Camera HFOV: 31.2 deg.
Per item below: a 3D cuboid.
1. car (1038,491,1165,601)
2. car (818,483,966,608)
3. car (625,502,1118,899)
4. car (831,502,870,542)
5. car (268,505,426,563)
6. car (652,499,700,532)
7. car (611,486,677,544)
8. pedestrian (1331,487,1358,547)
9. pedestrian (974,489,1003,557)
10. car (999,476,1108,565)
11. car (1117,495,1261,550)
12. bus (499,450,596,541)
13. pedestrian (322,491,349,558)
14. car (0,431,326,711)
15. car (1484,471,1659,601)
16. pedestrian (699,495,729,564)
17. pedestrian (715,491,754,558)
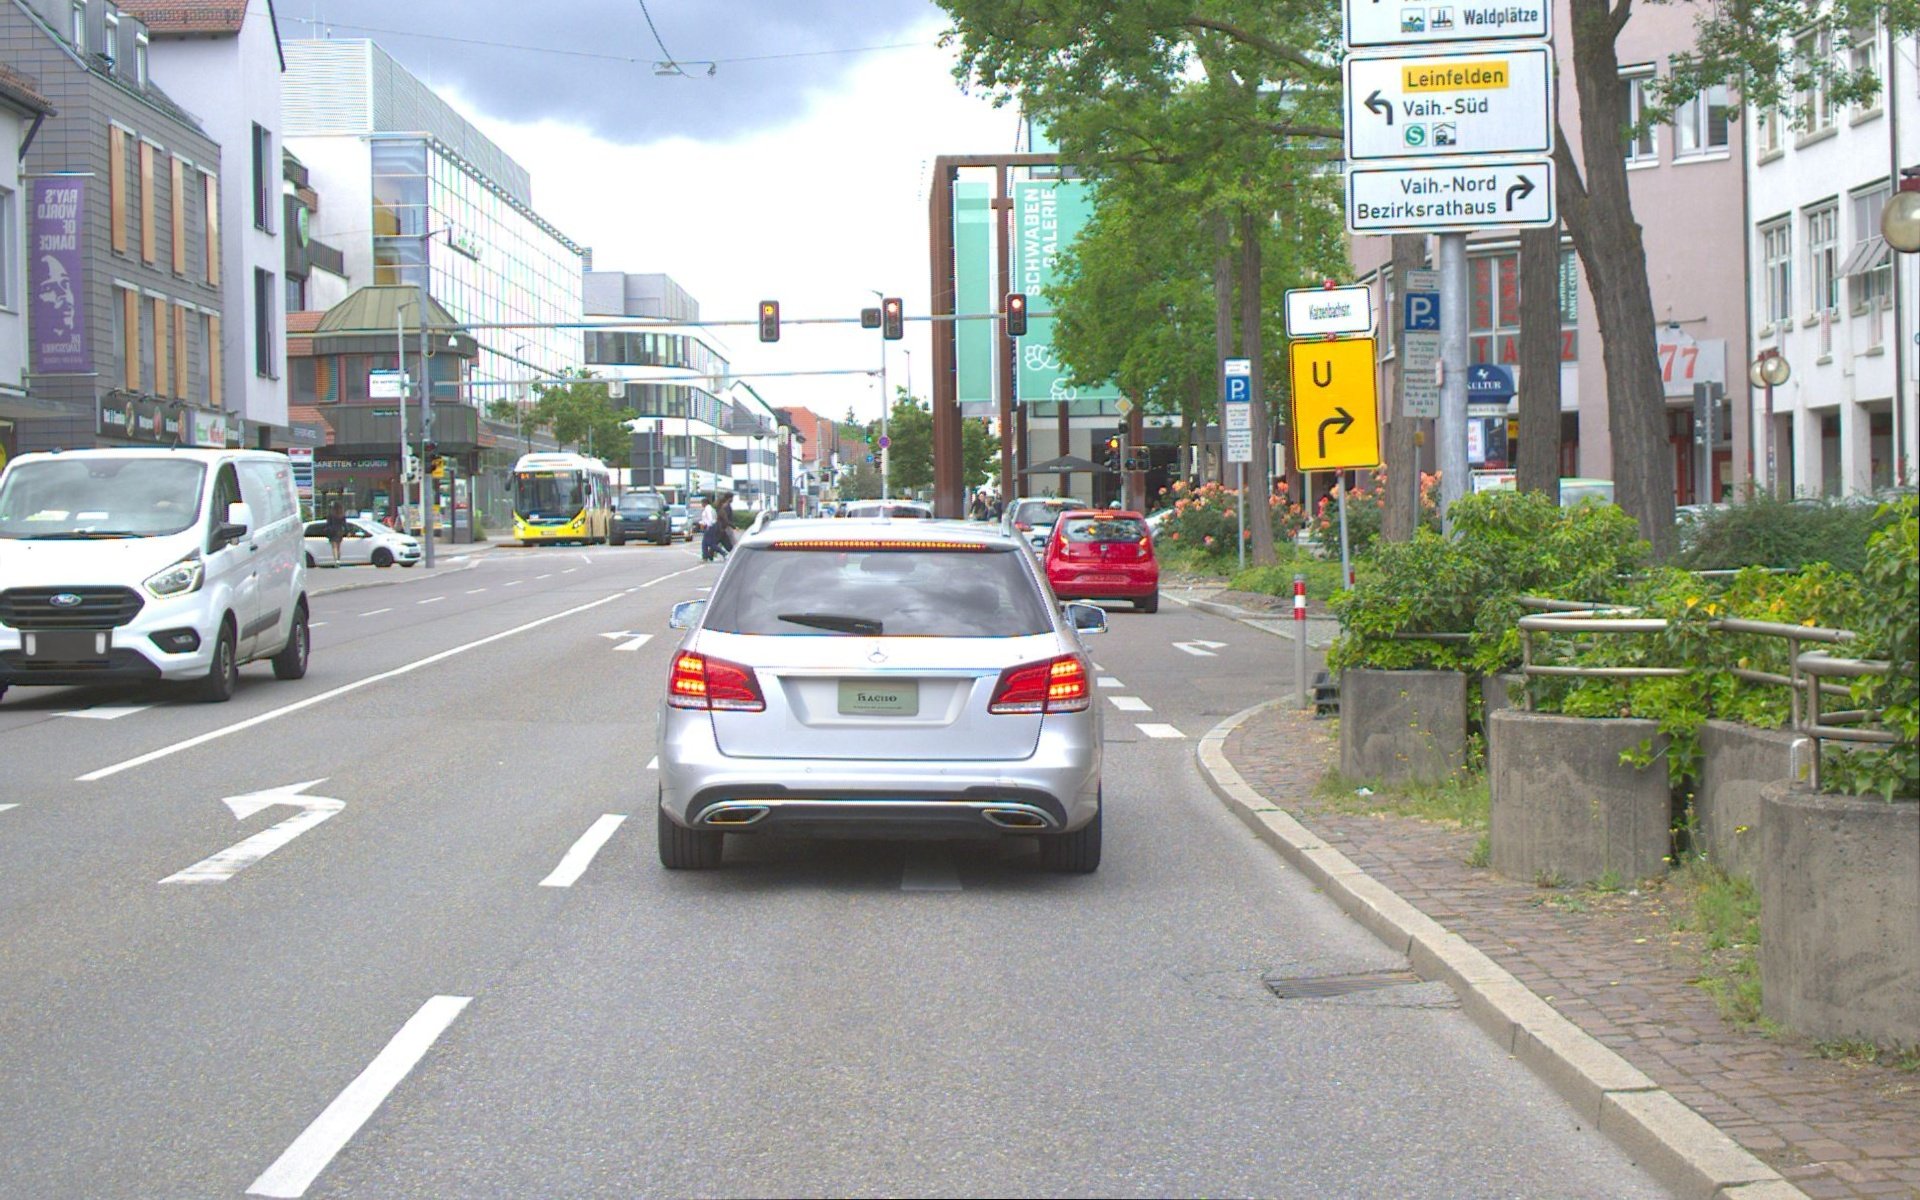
[{"bbox_3d":[2.045,-0.805,50.540,1.754,1.515,4.000,-1,1,1],"label":"car"},{"bbox_3d":[-0.955,-0.805,48.886,1.993,1.678,4.001,-1,2,-1],"label":"car"},{"bbox_3d":[-0.437,0.331,15.128,1.874,1.501,4.001,0,1,-3],"label":"car"},{"bbox_3d":[-5.714,-4.101,180.151,1.993,2.006,4.001,-1,2,-1],"label":"car"},{"bbox_3d":[-17.060,-1.842,95.693,3.990,1.524,1.665,0,2,17],"label":"car"},{"bbox_3d":[-11.126,-3.326,134.866,1.575,1.240,3.607,-1,2,-1],"label":"car"},{"bbox_3d":[-11.247,-3.041,122.725,1.993,2.006,4.000,-1,2,0],"label":"car"},{"bbox_3d":[10.570,-2.292,94.581,0.613,1.629,0.588,2,2,12],"label":"pedestrian"},{"bbox_3d":[0.703,-1.882,84.010,0.613,1.629,0.588,2,2,-4],"label":"pedestrian"},{"bbox_3d":[1.829,-1.597,68.372,1.993,1.678,4.001,-1,2,-1],"label":"car"},{"bbox_3d":[6.690,-2.265,100.626,4.100,1.536,1.580,-1,2,0],"label":"car"},{"bbox_3d":[-14.819,-3.754,123.779,2.775,3.154,5.933,-1,2,-1],"label":"bus"},{"bbox_3d":[-15.734,-1.906,86.613,0.586,1.664,0.642,2,2,-14],"label":"pedestrian"},{"bbox_3d":[-6.496,-0.269,27.340,1.961,1.954,5.140,-2,2,-1],"label":"car"},{"bbox_3d":[9.193,-0.991,51.964,1.866,1.858,4.001,-1,2,-1],"label":"car"},{"bbox_3d":[-5.964,-1.714,83.308,0.613,1.629,0.588,2,2,-10],"label":"pedestrian"},{"bbox_3d":[-5.583,-1.879,85.149,0.857,1.629,0.588,2,2,1],"label":"pedestrian"}]
